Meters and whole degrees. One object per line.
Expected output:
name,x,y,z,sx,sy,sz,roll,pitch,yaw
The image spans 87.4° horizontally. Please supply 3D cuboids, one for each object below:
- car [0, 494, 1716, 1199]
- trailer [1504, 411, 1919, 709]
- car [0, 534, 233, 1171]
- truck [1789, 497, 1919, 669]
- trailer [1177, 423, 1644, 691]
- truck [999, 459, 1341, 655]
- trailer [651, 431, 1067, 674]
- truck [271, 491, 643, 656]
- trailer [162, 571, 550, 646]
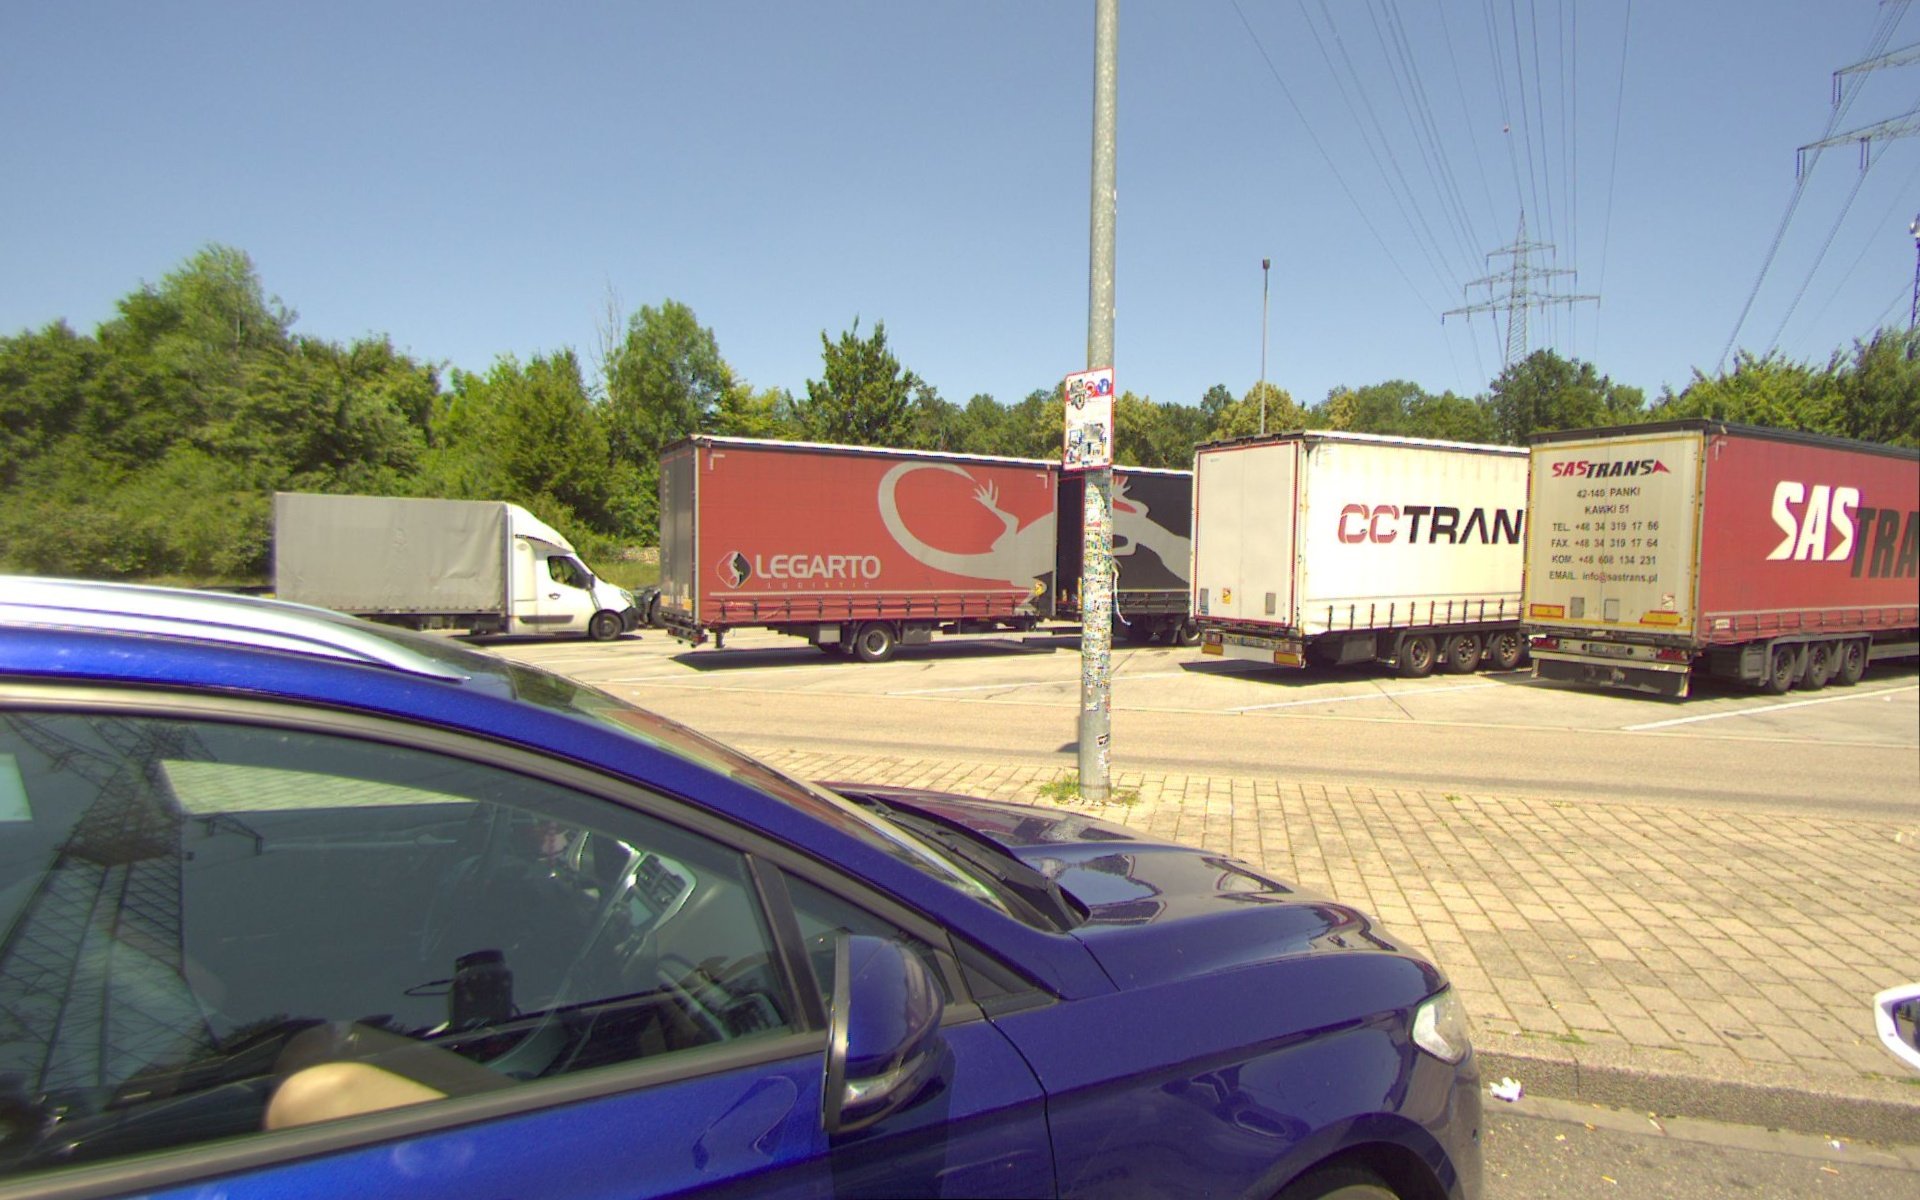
car,-0.953,0.653,1.452,4.522,1.491,1.743,0,2,-32
trailer,15.482,-0.674,18.614,13.599,4.127,2.807,-1,3,-31
car,-4.395,0.581,2.088,4.522,1.526,1.743,0,2,-32
truck,21.273,-0.402,22.052,5.903,3.409,2.798,-1,3,-30
trailer,8.988,-0.766,19.347,10.264,4.158,2.693,-1,3,-30
truck,5.286,-0.992,24.541,8.586,4.127,2.693,-1,3,-30
trailer,-1.866,-0.896,20.331,8.007,4.127,2.693,-1,3,-30
truck,-11.224,-0.612,22.993,7.187,3.289,2.694,-1,3,-29
trailer,-14.735,0.117,25.231,8.007,1.648,2.199,-1,3,-30
